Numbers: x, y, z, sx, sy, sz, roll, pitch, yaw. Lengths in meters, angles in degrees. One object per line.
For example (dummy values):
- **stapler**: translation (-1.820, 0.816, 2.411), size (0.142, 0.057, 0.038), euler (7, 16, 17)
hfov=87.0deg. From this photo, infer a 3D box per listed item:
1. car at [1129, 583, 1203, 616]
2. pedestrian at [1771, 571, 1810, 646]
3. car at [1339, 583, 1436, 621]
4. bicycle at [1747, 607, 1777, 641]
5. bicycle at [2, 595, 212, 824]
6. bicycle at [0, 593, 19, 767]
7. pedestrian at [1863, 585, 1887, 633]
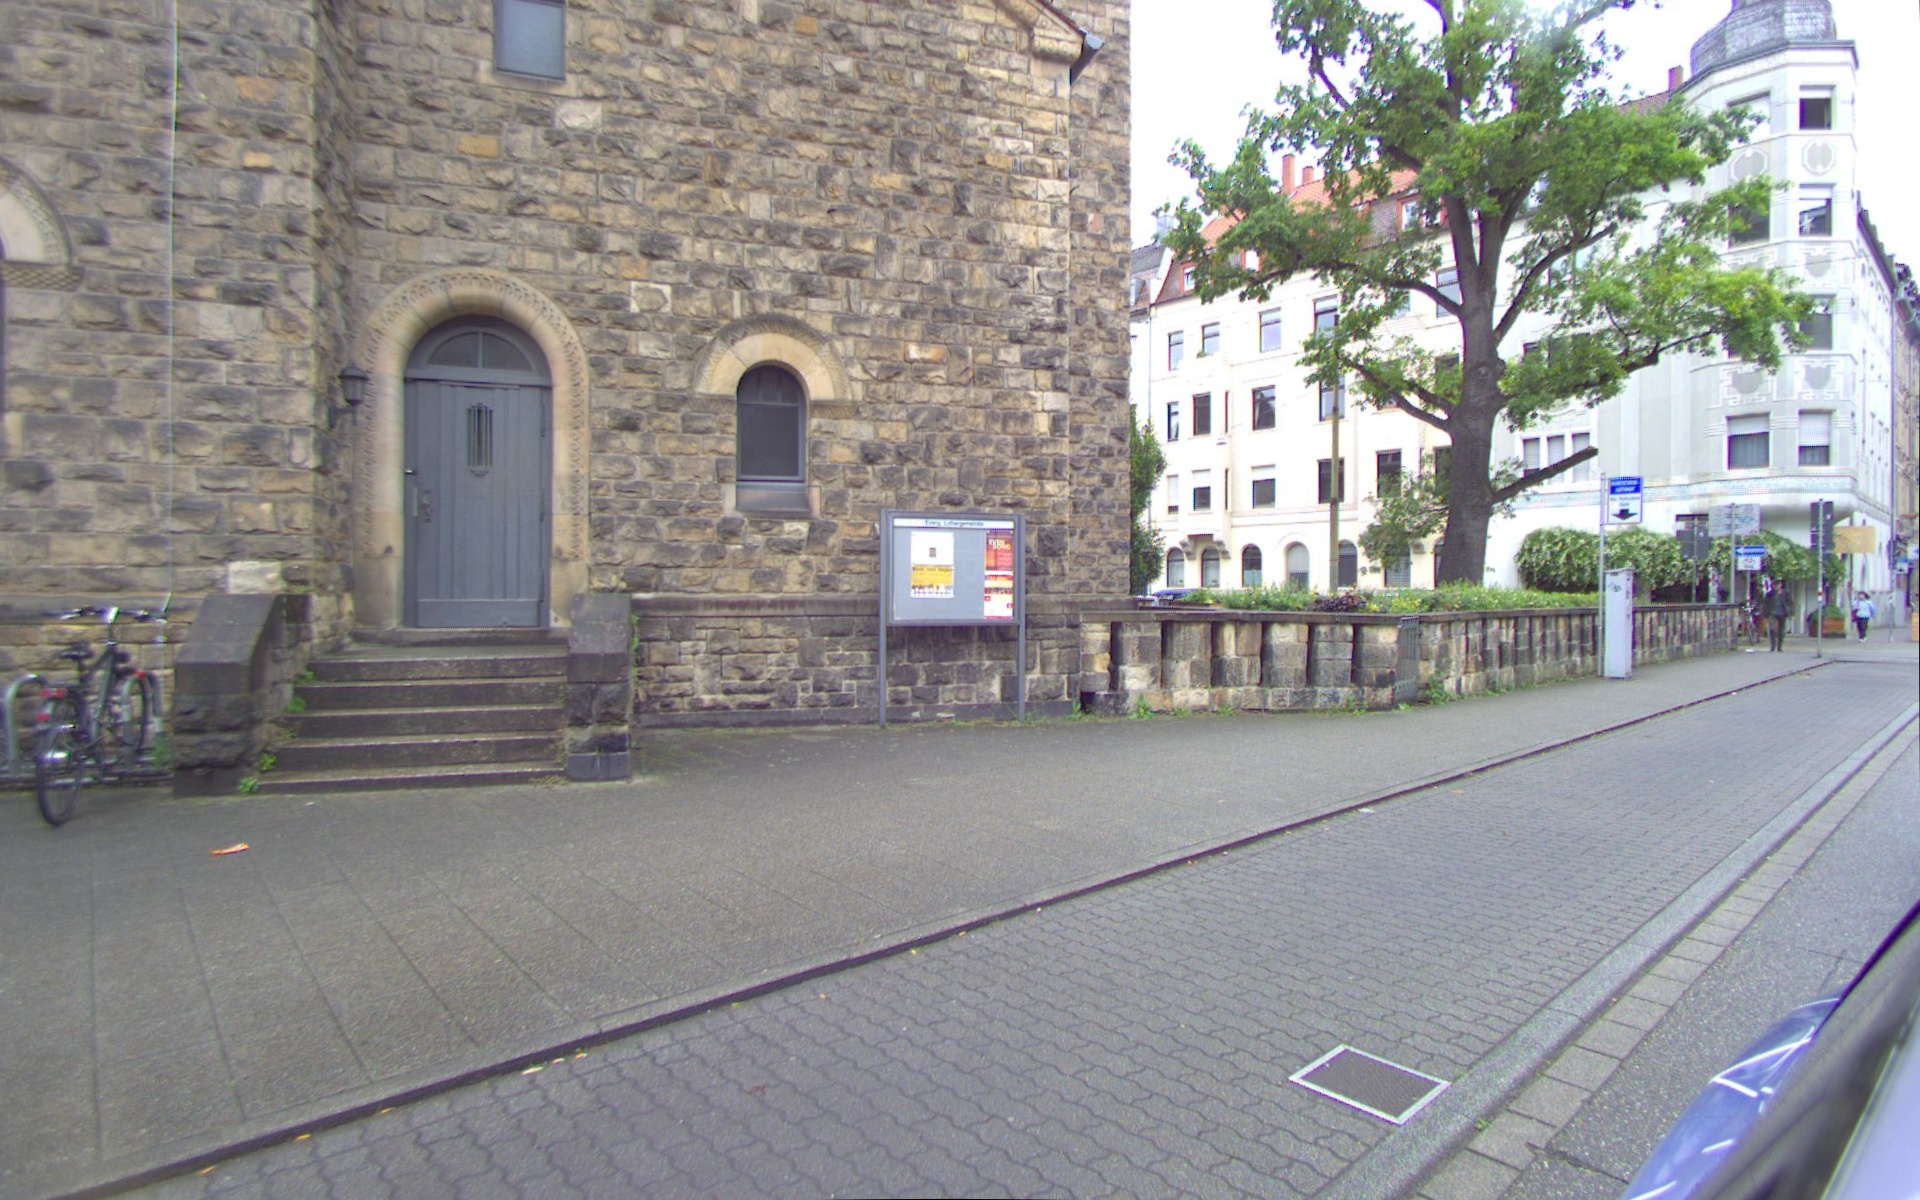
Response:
- **car**: translation (9.694, -0.047, 47.680), size (1.421, 1.427, 3.271), euler (0, 1, -38)
- **pedestrian**: translation (21.304, 0.214, 25.962), size (0.681, 1.896, 0.645), euler (0, 1, -42)
- **car**: translation (16.894, 0.053, 40.111), size (1.421, 1.427, 3.271), euler (0, 1, -38)
- **bicycle**: translation (24.501, 0.731, 30.894), size (1.990, 0.904, 0.390), euler (-3, 3, -42)
- **bicycle**: translation (-5.043, 0.550, 6.107), size (0.502, 1.067, 1.994), euler (0, 3, -27)
- **bicycle**: translation (-6.259, 0.556, 5.978), size (0.550, 1.125, 1.717), euler (0, 3, -27)
- **pedestrian**: translation (28.311, 0.275, 31.303), size (0.385, 1.479, 0.481), euler (0, 1, -42)
